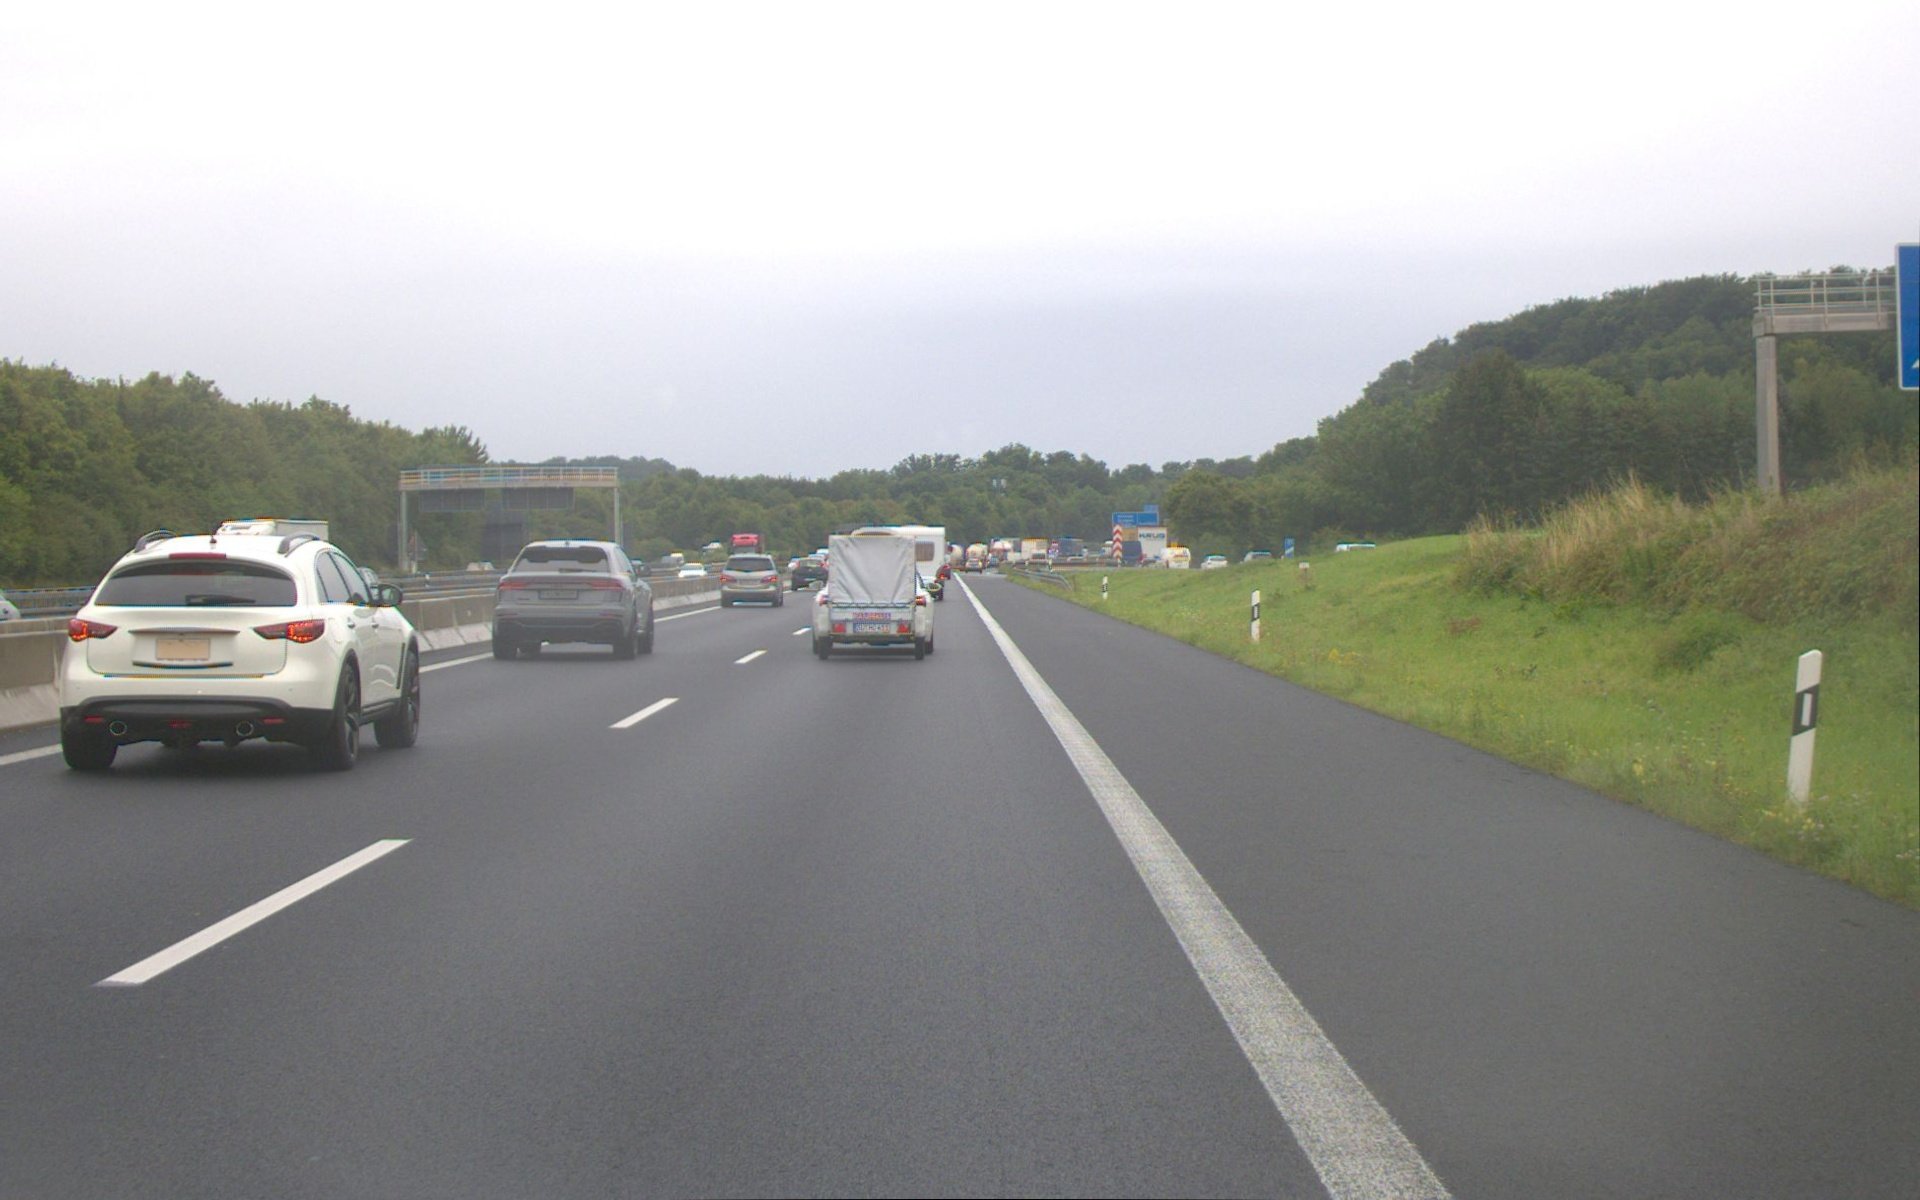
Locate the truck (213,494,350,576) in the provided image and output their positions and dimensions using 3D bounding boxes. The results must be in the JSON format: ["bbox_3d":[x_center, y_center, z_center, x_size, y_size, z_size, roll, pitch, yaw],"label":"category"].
[{"bbox_3d":[-33.243,-3.158,169.334,3.178,3.795,17.135,0,1,1],"label":"truck"}]

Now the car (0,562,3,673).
[{"bbox_3d":[-13.789,0.271,44.293,1.797,1.503,4.000,-1,1,-1],"label":"car"}]

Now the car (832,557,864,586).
[{"bbox_3d":[-6.270,-1.592,193.409,1.645,1.568,4.000,1,1,0],"label":"car"}]

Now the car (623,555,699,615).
[{"bbox_3d":[-8.512,-0.440,98.173,1.819,1.656,4.017,-1,1,0],"label":"car"}]

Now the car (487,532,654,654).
[{"bbox_3d":[-5.676,-0.124,50.625,1.975,1.697,4.802,0,1,-1],"label":"car"}]

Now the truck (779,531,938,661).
[{"bbox_3d":[-1.502,-0.108,51.994,2.242,1.833,6.585,0,1,-1],"label":"truck"}]

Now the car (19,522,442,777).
[{"bbox_3d":[-5.145,0.290,24.907,2.048,1.665,4.541,0,1,1],"label":"car"}]

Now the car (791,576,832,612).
[{"bbox_3d":[-6.600,-0.284,152.852,1.645,1.568,4.000,1,1,0],"label":"car"}]

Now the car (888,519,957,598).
[{"bbox_3d":[-1.370,-1.451,121.118,2.331,2.716,6.540,0,0,-1],"label":"car"}]

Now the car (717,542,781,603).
[{"bbox_3d":[-6.354,-0.853,103.848,1.738,1.787,4.000,0,1,-1],"label":"car"}]
